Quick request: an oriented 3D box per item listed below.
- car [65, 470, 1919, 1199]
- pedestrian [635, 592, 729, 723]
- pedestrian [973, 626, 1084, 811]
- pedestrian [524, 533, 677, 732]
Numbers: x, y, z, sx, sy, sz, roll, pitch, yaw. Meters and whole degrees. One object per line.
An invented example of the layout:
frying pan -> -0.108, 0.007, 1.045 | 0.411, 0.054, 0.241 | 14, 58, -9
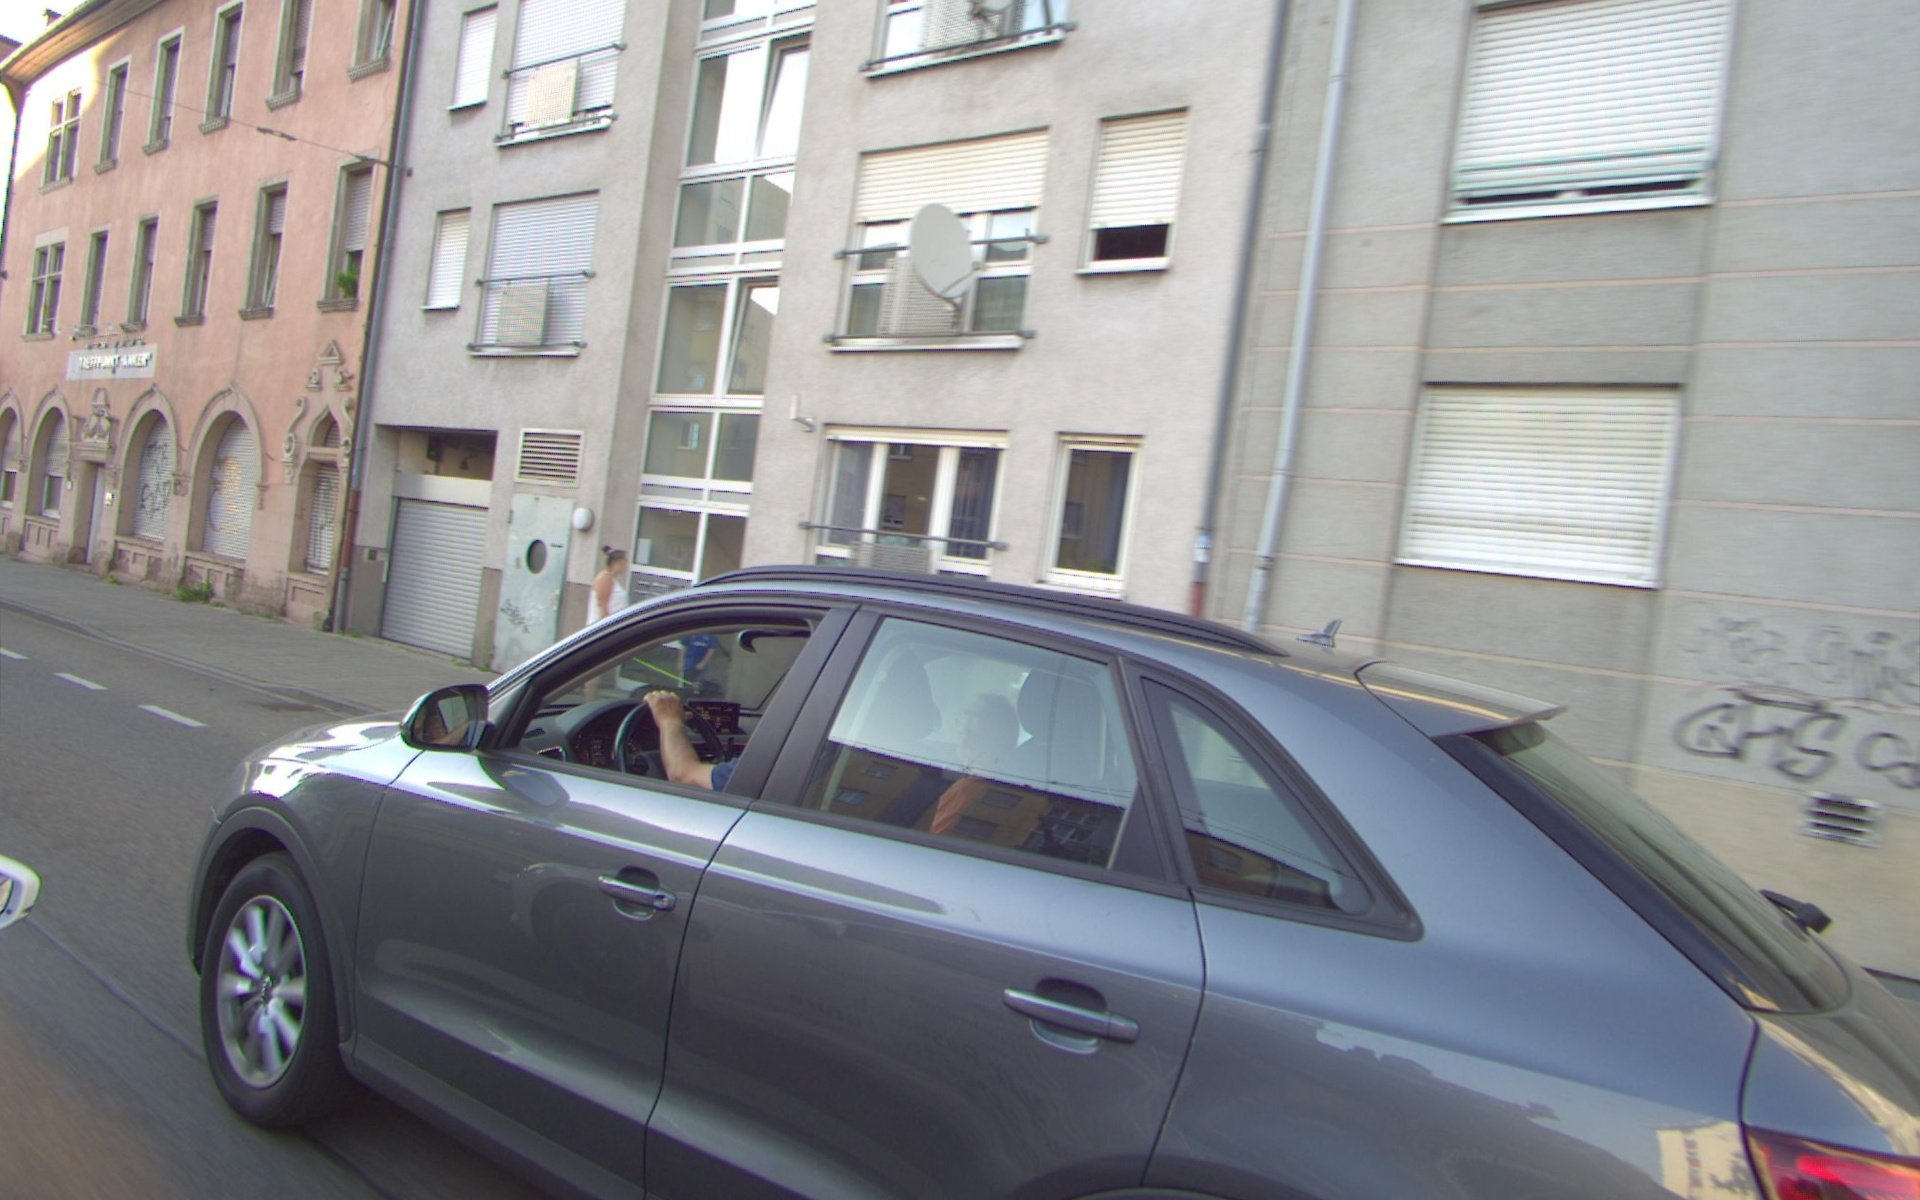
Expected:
car -> -0.438, 0.715, 2.747 | 3.999, 1.607, 1.769 | 8, 0, 31
pedestrian -> -2.893, 0.596, 10.492 | 0.575, 1.267, 0.587 | 8, 1, 32
pedestrian -> 0.552, 0.924, 8.053 | 0.599, 1.361, 0.515 | 6, 1, 29
pedestrian -> -3.544, 0.314, 9.929 | 0.979, 1.794, 0.830 | 8, 1, 33
